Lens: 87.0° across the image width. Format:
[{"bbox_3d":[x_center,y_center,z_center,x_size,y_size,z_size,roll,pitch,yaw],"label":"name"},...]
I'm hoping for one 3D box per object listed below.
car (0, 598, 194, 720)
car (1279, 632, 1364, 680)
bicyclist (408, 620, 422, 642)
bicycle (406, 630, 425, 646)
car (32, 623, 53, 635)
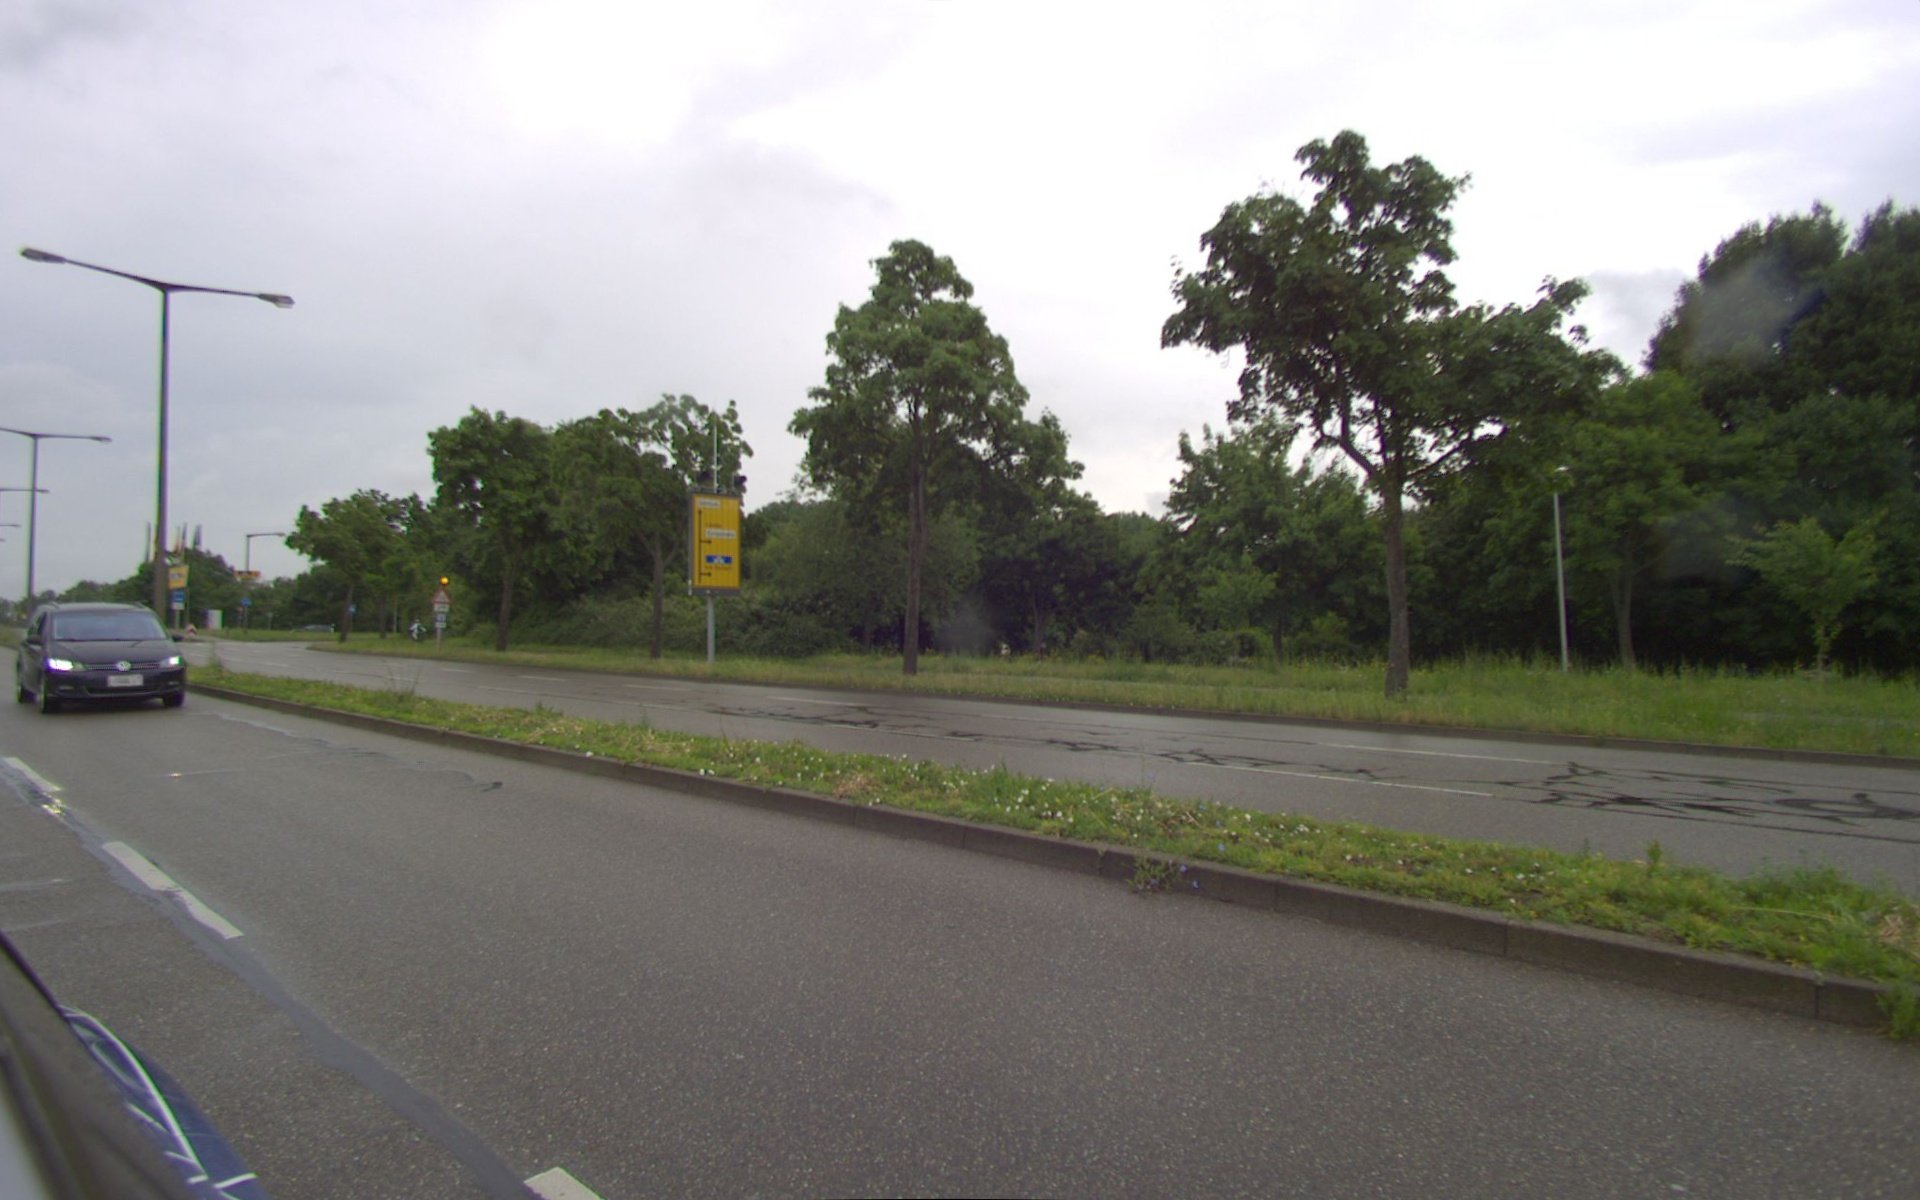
[{"bbox_3d":[-14.629,0.920,17.004,4.814,1.764,1.827,-2,-1,40],"label":"car"},{"bbox_3d":[13.635,2.046,38.073,1.996,1.698,3.952,-2,-3,35],"label":"car"},{"bbox_3d":[-32.471,1.857,60.305,0.808,1.312,0.516,-1,-1,43],"label":"bicyclist"},{"bbox_3d":[-32.470,2.248,60.304,1.634,0.892,0.516,-1,-1,44],"label":"bicycle"},{"bbox_3d":[-128.827,4.020,142.091,4.492,1.642,1.688,-1,-4,43],"label":"car"}]
